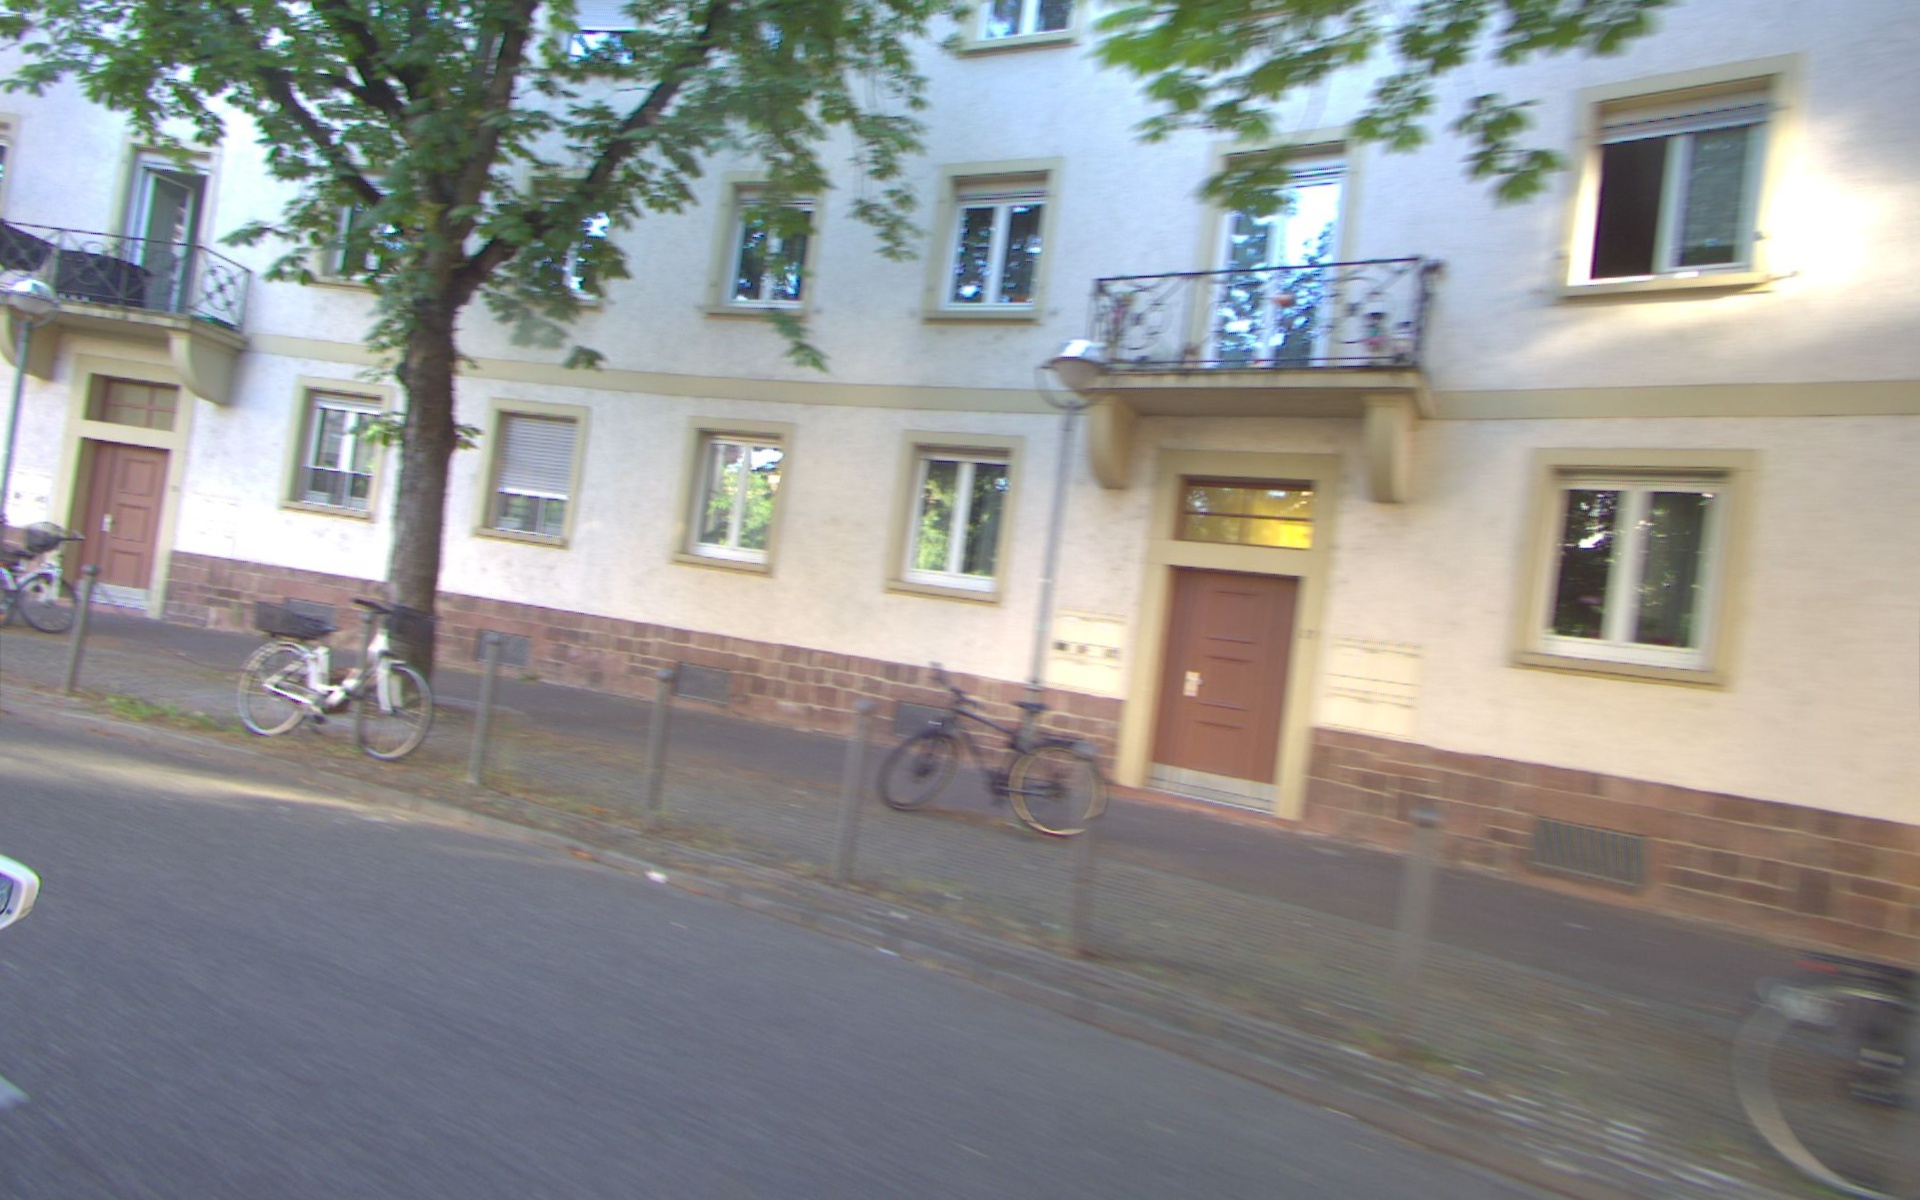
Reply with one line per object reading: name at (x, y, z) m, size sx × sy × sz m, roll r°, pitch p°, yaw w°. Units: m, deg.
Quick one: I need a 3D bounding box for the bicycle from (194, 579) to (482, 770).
bicycle at (-4.631, 0.529, 7.493) m, size 1.936 × 1.109 × 0.514 m, roll 7°, pitch 0°, yaw 14°

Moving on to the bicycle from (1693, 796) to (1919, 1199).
bicycle at (3.509, 1.422, 3.061) m, size 1.882 × 1.237 × 0.719 m, roll 7°, pitch -2°, yaw 31°

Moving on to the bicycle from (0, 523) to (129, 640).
bicycle at (-10.580, -0.250, 11.402) m, size 1.929 × 1.120 × 0.670 m, roll 8°, pitch -2°, yaw 14°

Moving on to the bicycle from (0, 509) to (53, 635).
bicycle at (-10.941, -0.407, 10.797) m, size 1.929 × 1.292 × 0.720 m, roll 8°, pitch 0°, yaw 13°

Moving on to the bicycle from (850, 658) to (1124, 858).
bicycle at (0.237, 1.127, 7.504) m, size 1.823 × 1.131 × 0.804 m, roll 8°, pitch -2°, yaw 10°
